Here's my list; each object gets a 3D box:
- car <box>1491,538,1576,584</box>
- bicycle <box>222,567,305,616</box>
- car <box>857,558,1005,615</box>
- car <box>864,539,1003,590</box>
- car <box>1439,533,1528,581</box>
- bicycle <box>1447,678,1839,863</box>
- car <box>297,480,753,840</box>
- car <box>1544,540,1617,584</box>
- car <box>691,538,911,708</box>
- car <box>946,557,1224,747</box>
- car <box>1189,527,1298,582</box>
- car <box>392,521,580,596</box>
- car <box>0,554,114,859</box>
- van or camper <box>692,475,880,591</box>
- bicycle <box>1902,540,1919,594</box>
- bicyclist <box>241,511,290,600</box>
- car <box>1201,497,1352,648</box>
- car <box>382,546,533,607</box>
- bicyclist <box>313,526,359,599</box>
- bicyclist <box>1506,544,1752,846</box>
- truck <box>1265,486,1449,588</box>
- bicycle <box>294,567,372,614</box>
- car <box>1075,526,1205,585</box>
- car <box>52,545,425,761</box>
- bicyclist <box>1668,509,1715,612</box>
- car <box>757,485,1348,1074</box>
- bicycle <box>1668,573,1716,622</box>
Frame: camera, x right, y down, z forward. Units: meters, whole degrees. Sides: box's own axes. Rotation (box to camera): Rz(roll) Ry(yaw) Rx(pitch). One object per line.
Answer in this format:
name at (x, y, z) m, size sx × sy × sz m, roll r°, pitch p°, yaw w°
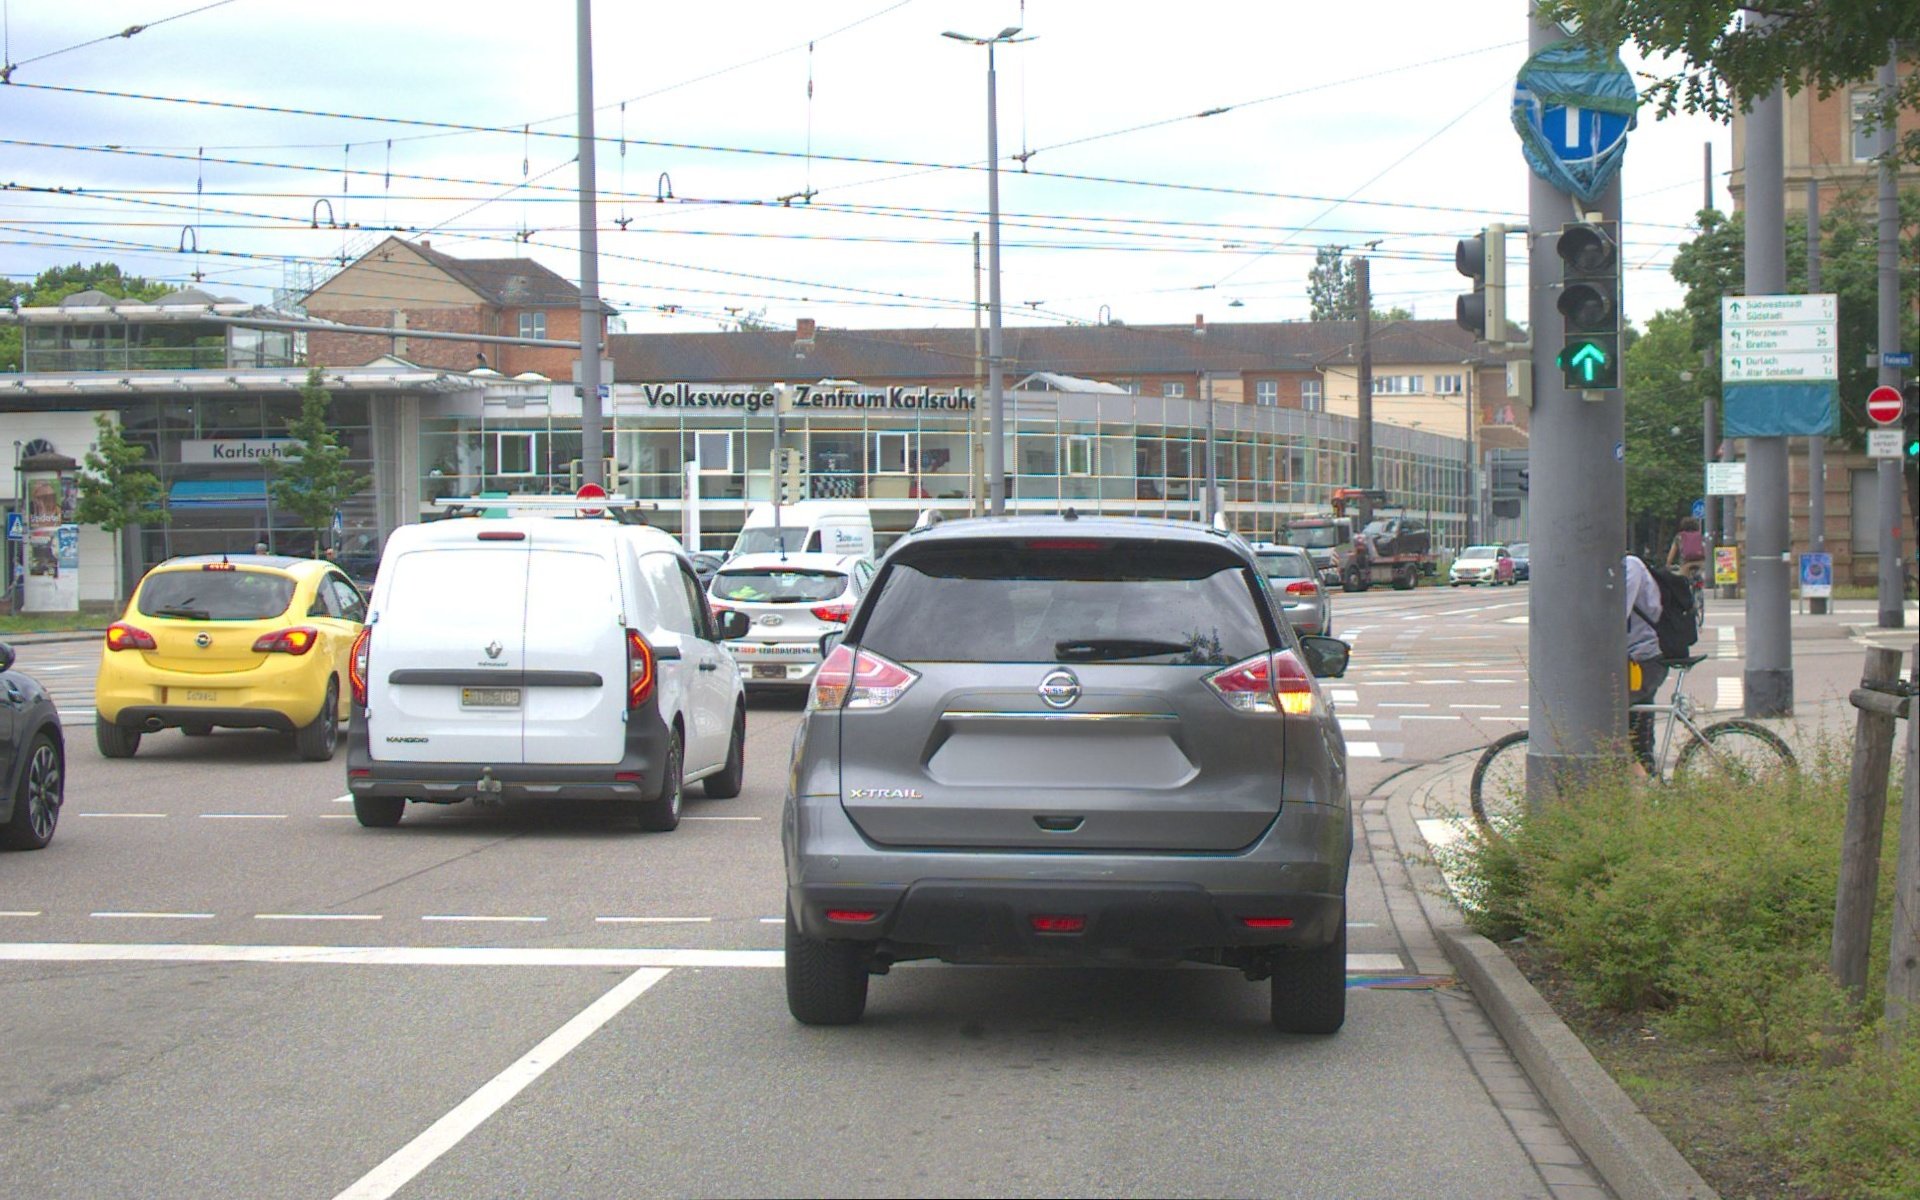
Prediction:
car at (23.397, -1.594, 140.242) m, size 1.997 × 1.832 × 4.515 m, roll 1°, pitch 1°, yaw 29°
bicycle at (-14.114, -0.181, 69.743) m, size 0.519 × 0.926 × 2.220 m, roll 0°, pitch 2°, yaw 22°
car at (-0.709, -0.377, 89.167) m, size 1.996 × 1.415 × 4.795 m, roll 0°, pitch 1°, yaw 25°
car at (-0.716, -1.034, 97.678) m, size 1.996 × 1.415 × 4.744 m, roll 1°, pitch 1°, yaw 27°
car at (20.446, -1.696, 134.151) m, size 1.997 × 1.832 × 4.515 m, roll 1°, pitch 1°, yaw 29°
bicycle at (3.487, 0.864, 17.657) m, size 1.820 × 0.837 × 0.767 m, roll -2°, pitch 1°, yaw -2°
car at (-2.468, 0.283, 20.550) m, size 1.913 × 1.933 × 4.131 m, roll 0°, pitch 1°, yaw 4°
car at (26.598, -1.633, 147.234) m, size 1.996 × 1.832 × 4.517 m, roll 0°, pitch 1°, yaw 25°
car at (-1.465, 0.182, 33.000) m, size 1.853 × 1.503 × 4.000 m, roll 1°, pitch 1°, yaw 1°
car at (1.092, 0.366, 27.950) m, size 1.994 × 1.415 × 3.999 m, roll 0°, pitch 1°, yaw 6°
car at (9.693, -1.556, 117.297) m, size 1.997 × 1.832 × 4.515 m, roll 1°, pitch 1°, yaw 29°
car at (-13.404, -1.182, 97.274) m, size 4.770 × 2.007 × 2.119 m, roll 1°, pitch 1°, yaw 18°
car at (-5.528, 0.519, 16.404) m, size 1.770 × 1.463 × 4.000 m, roll 0°, pitch 1°, yaw 4°
van or camper at (-4.045, -1.559, 81.381) m, size 2.417 × 2.602 × 6.046 m, roll 1°, pitch 1°, yaw 18°
bicycle at (24.670, -0.822, 86.688) m, size 0.959 × 1.349 × 3.115 m, roll 1°, pitch 1°, yaw 31°
bicyclist at (-14.050, -0.903, 69.578) m, size 0.628 × 1.797 × 0.796 m, roll 0°, pitch 1°, yaw 22°
car at (4.424, -0.396, 48.579) m, size 1.994 × 2.007 × 4.000 m, roll 1°, pitch 1°, yaw 4°
car at (-10.523, -0.514, 72.242) m, size 1.688 × 1.242 × 3.735 m, roll 0°, pitch 1°, yaw 17°
bicyclist at (-13.145, -0.797, 72.393) m, size 0.566 × 1.503 × 0.856 m, roll 0°, pitch 2°, yaw 22°
bicyclist at (3.419, 0.471, 17.635) m, size 1.097 × 1.515 × 0.760 m, roll 0°, pitch 1°, yaw -1°
truck at (14.508, -2.239, 124.841) m, size 2.799 × 3.537 × 9.206 m, roll 1°, pitch 1°, yaw 33°
bicycle at (-13.182, -0.203, 72.351) m, size 0.519 × 0.923 × 2.220 m, roll 0°, pitch 2°, yaw 22°
car at (5.813, -1.437, 110.516) m, size 2.160 × 1.850 × 5.439 m, roll 0°, pitch 1°, yaw 27°
car at (-5.437, 0.345, 26.399) m, size 1.818 × 1.489 × 4.000 m, roll 1°, pitch 1°, yaw 3°
bicyclist at (12.176, -0.657, 57.213) m, size 0.688 × 1.702 × 0.798 m, roll 0°, pitch 1°, yaw 6°
car at (0.359, 0.529, 12.208) m, size 1.750 × 1.750 × 3.923 m, roll 0°, pitch 0°, yaw 3°
bicycle at (12.182, -0.043, 57.268) m, size 0.619 × 0.791 × 1.591 m, roll 0°, pitch 1°, yaw 6°
